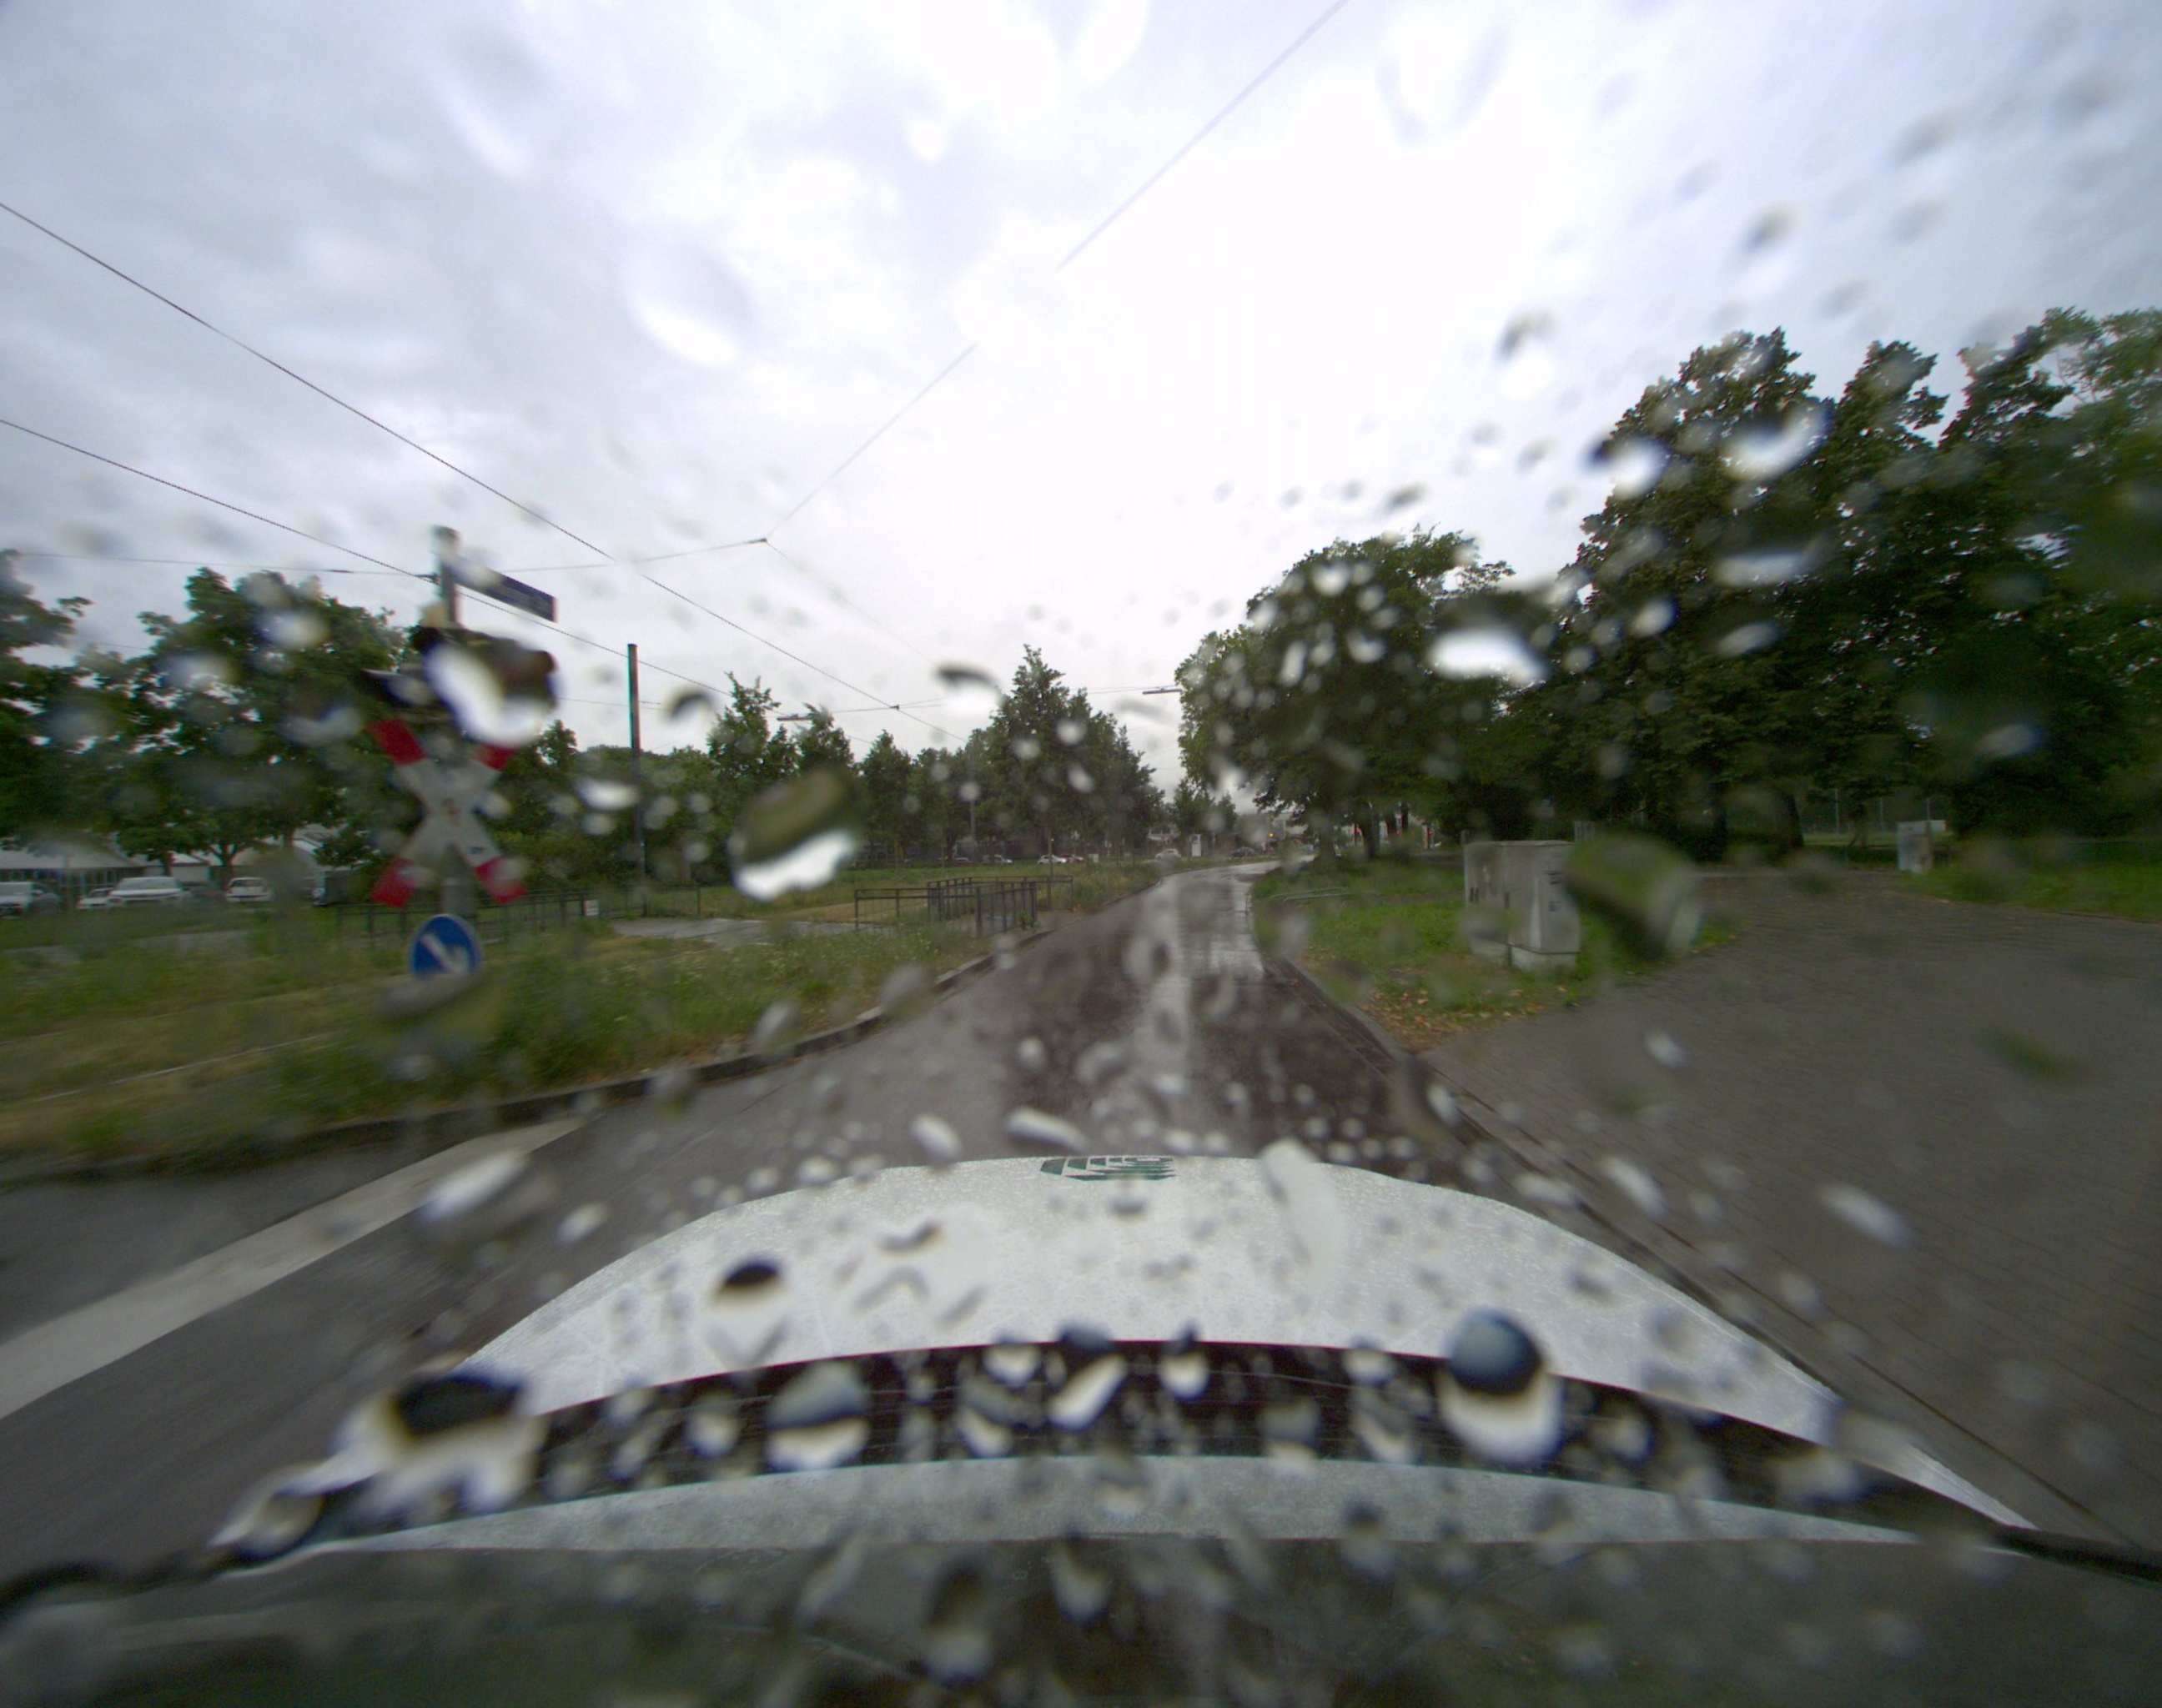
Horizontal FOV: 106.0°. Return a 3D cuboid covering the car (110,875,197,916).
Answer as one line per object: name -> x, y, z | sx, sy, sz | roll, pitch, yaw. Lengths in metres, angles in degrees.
car -> -32.202, 1.429, 28.364 | 1.675, 1.249, 3.696 | -2, 0, -44

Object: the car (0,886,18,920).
car -> -43.889, 1.995, 32.244 | 1.675, 1.325, 3.696 | -2, 0, -44

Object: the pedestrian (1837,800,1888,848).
pedestrian -> 28.802, -1.091, 30.027 | 1.024, 1.694, 0.858 | -2, 0, 14

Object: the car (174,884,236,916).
car -> -39.327, 2.038, 36.623 | 1.675, 1.249, 3.696 | -2, 0, -44

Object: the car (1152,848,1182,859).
car -> 12.374, -0.008, 117.490 | 3.951, 1.420, 1.547 | -2, 0, 23

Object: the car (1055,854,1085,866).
car -> -1.542, 0.878, 112.261 | 3.791, 1.499, 1.658 | -2, -1, 13

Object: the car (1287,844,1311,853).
car -> 38.529, -0.971, 143.826 | 3.714, 1.442, 1.773 | -3, 0, 28

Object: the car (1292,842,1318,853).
car -> 40.315, -1.142, 146.791 | 4.095, 1.860, 1.684 | -3, -1, 32

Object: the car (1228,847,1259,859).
car -> 22.029, -0.117, 110.427 | 1.698, 1.420, 3.770 | -3, 0, -41

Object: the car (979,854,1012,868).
car -> -11.656, 0.940, 111.257 | 4.181, 1.796, 1.658 | -2, 1, 12

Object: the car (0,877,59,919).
car -> -34.337, 1.417, 25.979 | 1.675, 1.249, 3.696 | -2, 0, -44

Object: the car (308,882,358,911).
car -> -36.640, 2.057, 39.853 | 1.675, 1.249, 3.696 | -2, 0, -44

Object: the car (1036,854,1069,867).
car -> -3.757, 0.856, 109.174 | 4.036, 1.499, 1.658 | -2, -1, 13
